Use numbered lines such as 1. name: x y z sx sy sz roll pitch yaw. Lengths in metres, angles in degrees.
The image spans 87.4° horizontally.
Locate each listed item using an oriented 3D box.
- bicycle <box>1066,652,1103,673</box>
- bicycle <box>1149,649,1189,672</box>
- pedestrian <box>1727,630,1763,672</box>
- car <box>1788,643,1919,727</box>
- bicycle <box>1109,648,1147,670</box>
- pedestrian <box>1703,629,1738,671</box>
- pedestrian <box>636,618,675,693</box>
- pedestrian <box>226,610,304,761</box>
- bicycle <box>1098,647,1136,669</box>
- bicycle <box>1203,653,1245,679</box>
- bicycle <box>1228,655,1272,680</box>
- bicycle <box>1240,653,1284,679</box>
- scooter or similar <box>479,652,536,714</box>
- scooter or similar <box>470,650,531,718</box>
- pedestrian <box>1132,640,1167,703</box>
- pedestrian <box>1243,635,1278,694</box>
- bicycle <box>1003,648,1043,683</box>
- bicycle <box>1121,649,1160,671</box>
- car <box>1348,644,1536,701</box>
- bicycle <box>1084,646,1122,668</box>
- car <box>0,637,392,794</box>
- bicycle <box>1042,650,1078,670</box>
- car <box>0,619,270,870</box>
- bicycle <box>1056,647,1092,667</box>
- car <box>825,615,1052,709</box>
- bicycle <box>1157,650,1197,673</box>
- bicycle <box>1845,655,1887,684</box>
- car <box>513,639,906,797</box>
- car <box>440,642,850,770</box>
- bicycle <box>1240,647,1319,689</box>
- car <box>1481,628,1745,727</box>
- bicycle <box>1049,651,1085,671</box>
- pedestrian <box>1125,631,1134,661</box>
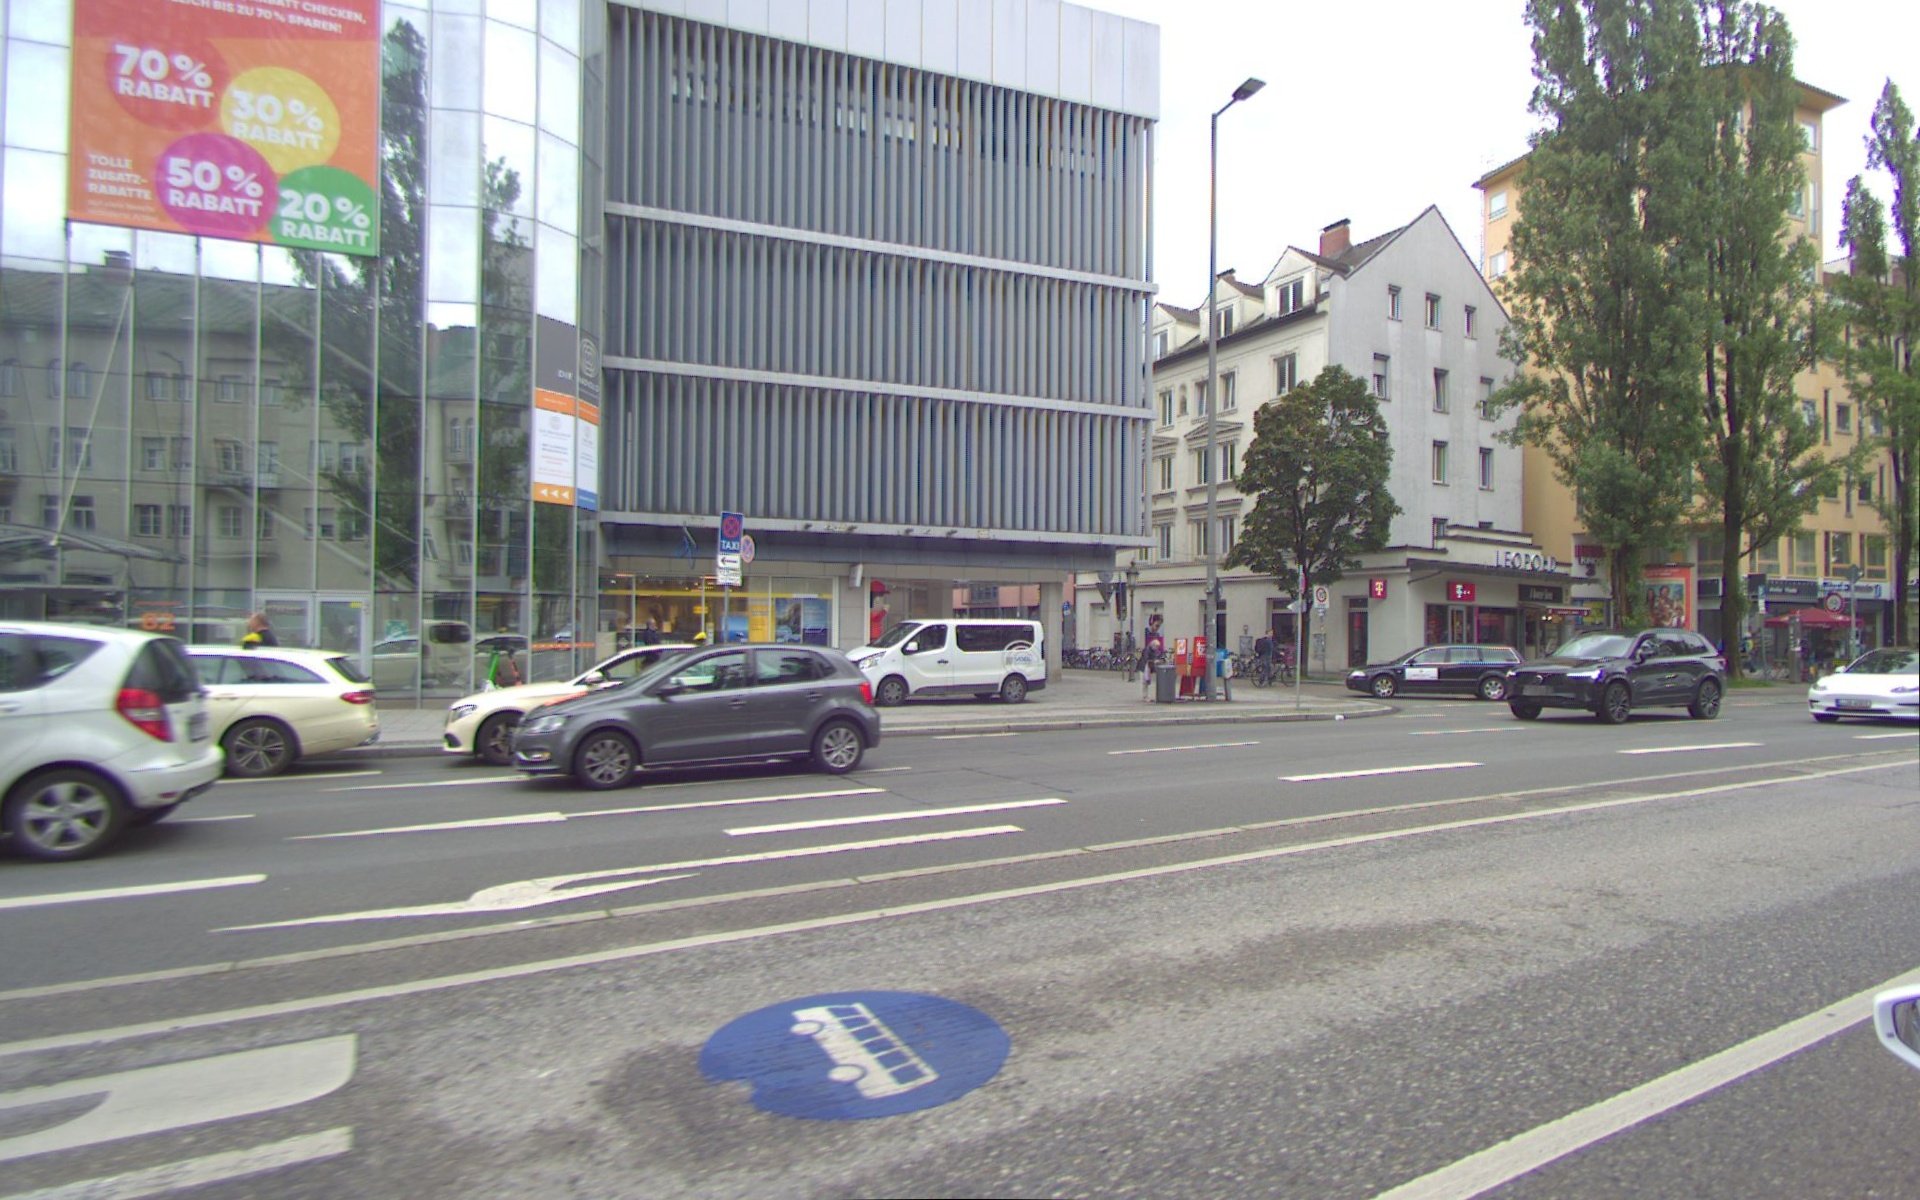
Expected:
1. bicycle: 6.111 3.064 49.229 1.856 0.976 0.457 1 -2 -27
2. bicycle: 9.191 2.665 44.071 1.856 0.976 0.457 1 -2 -27
3. pedestrian: 31.334 2.042 40.109 0.752 1.647 0.838 2 0 -22
4. car: 18.014 1.537 18.960 4.625 1.412 1.795 1 -2 -24
5. bicycle: 7.809 2.726 46.706 1.856 0.976 0.457 1 -2 -27
6. pedestrian: 31.022 2.044 40.969 0.752 1.647 0.838 2 0 -22
7. pedestrian: -7.735 1.409 25.490 0.891 1.859 0.861 1 -2 -21
8. pedestrian: -9.153 1.098 13.221 0.781 1.891 0.838 2 -2 -36
9. bicycle: 7.396 2.720 47.208 1.856 0.976 0.457 1 -2 -27
10. bicycle: 10.688 2.664 40.649 1.856 0.976 0.457 1 -2 -27
11. bicycle: 11.529 2.679 39.925 1.856 0.976 0.457 1 -2 -27
12. bicycle: 11.867 2.579 39.425 1.856 0.976 0.457 1 -2 -27
13. scooter or similar: -8.966 1.629 19.911 0.251 1.188 0.991 -1 -2 43
14. scooter or similar: -8.624 1.563 18.863 0.989 1.240 0.252 2 -2 -40
15. pedestrian: 4.629 1.725 24.531 0.647 1.514 0.543 1 -2 -28
16. pedestrian: 9.878 2.109 33.013 0.817 1.923 0.859 0 -2 -8
17. bicycle: 2.036 2.103 32.573 0.548 1.097 1.817 1 -2 -23
18. bicycle: 8.248 2.728 45.826 1.856 0.976 0.457 1 -2 -27
19. car: 12.994 1.929 27.405 4.419 1.458 1.928 -1 -2 20
20. bicycle: 6.819 2.712 47.912 1.856 0.976 0.457 1 -2 -27
21. car: -9.357 1.209 11.387 5.024 1.573 1.969 1 -2 -29
22. bicycle: 5.072 3.056 50.988 1.856 0.976 0.457 1 -2 -27
23. car: -7.350 0.941 6.959 3.948 1.610 1.947 1 -2 -27
24. bicycle: 5.662 2.846 49.937 1.856 0.976 0.457 1 -2 -27
25. car: -0.494 1.418 23.827 5.042 2.040 1.988 1 -2 -25
26. bicycle: 9.414 2.666 43.601 1.856 0.976 0.457 1 -2 -27
27. bicycle: 31.729 2.414 35.176 1.856 0.976 0.457 1 -2 -27
28. car: -2.758 1.176 11.167 3.949 1.485 1.777 1 -2 -27
29. car: -4.082 1.333 13.511 4.905 1.488 1.855 1 -4 -20
30. bicycle: 10.202 2.161 32.109 2.263 1.325 0.848 0 -2 -12
31. car: 12.762 1.426 19.610 4.914 1.739 2.013 1 -2 -25
32. bicycle: 5.365 3.058 50.473 1.856 0.976 0.457 1 -2 -27
33. pedestrian: 8.726 2.345 51.727 0.346 1.533 0.308 1 -2 -29
